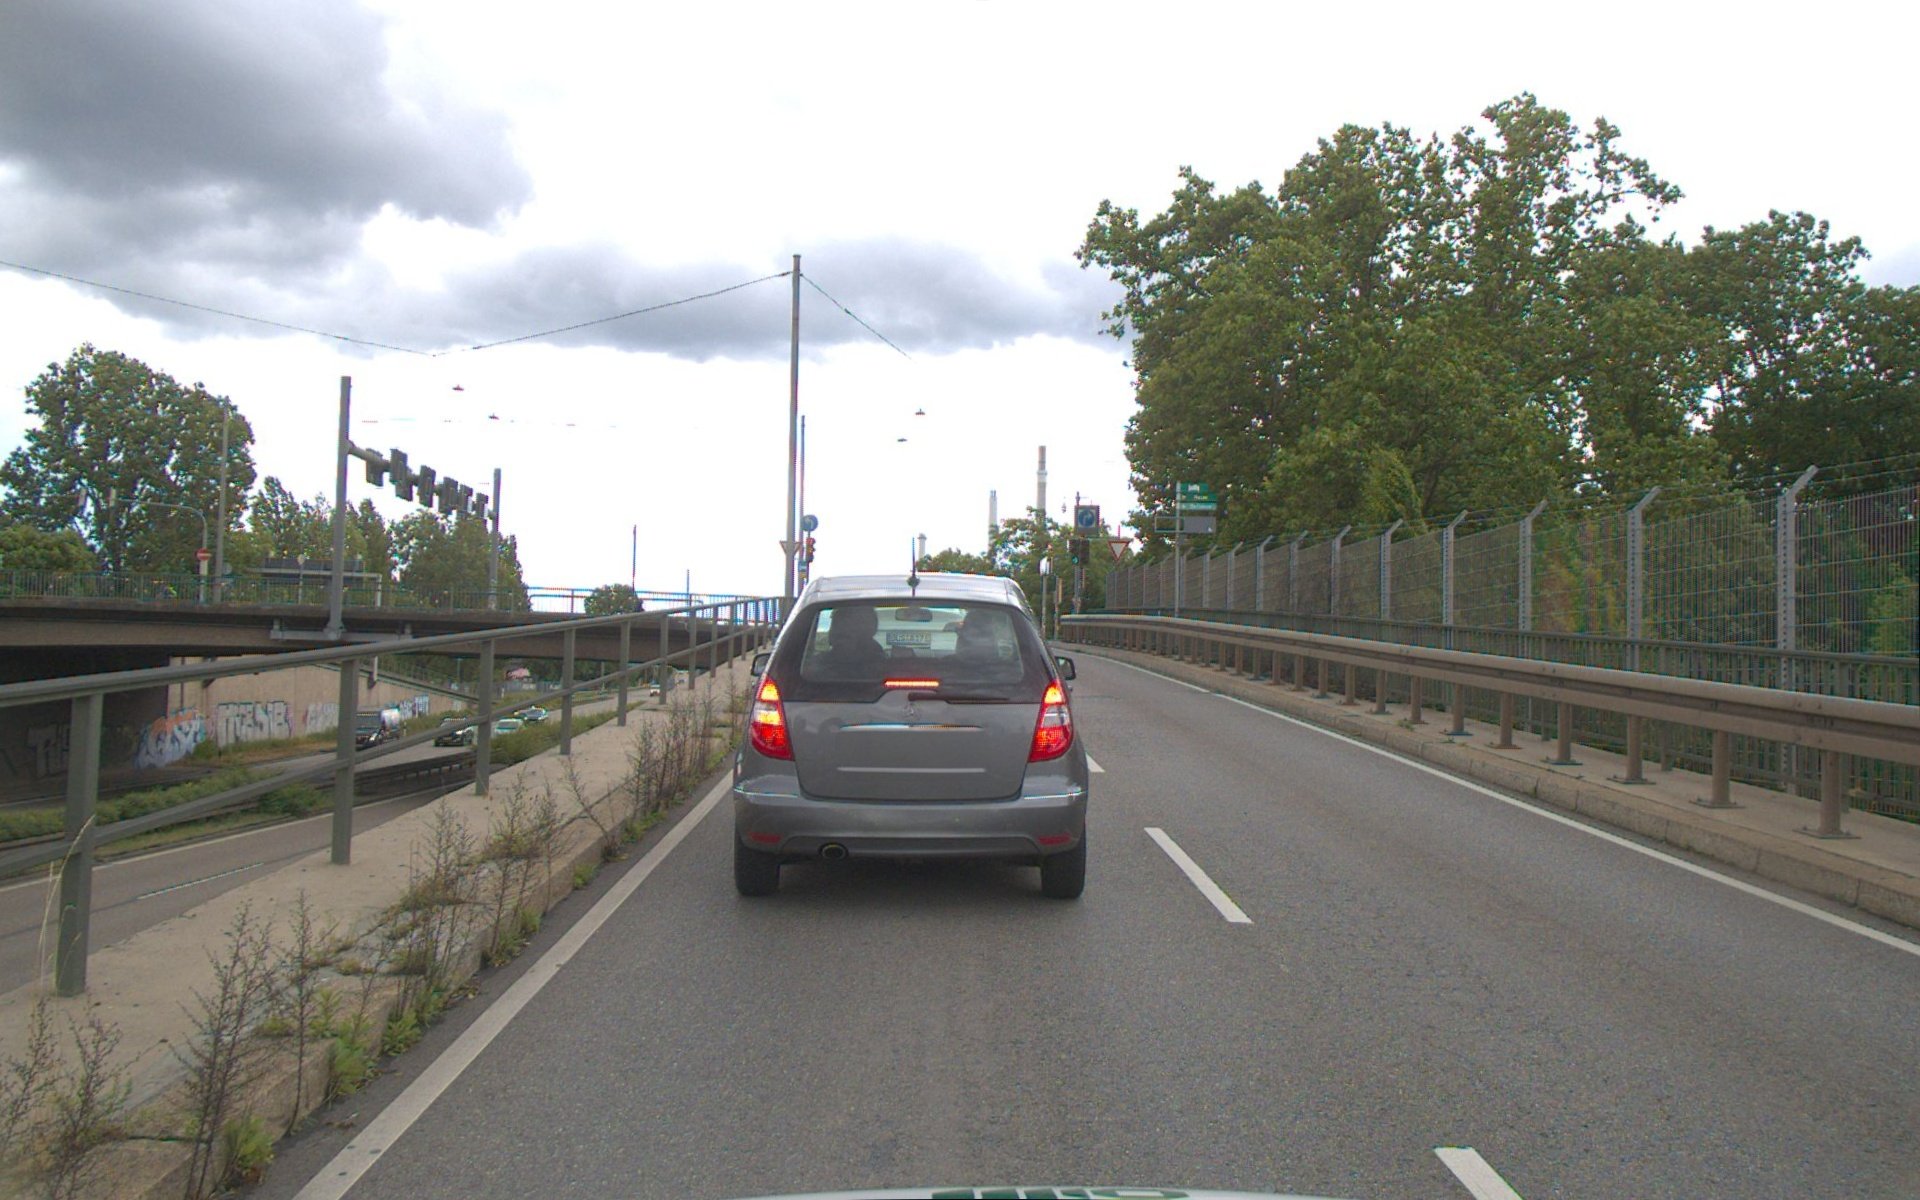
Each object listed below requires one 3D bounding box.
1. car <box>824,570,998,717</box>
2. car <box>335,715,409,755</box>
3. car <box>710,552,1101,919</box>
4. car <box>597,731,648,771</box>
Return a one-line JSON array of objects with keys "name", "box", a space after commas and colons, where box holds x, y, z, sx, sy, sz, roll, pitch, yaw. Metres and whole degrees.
[{"name": "car", "box": [-0.593, 0.459, 20.645, 1.953, 1.631, 3.999, 0, 1, -1]}, {"name": "car", "box": [-34.330, 7.847, 96.760, 2.244, 2.193, 6.180, 0, -4, -1]}, {"name": "car", "box": [-0.078, 0.619, 9.433, 1.713, 1.608, 4.087, 1, -1, 5]}, {"name": "car", "box": [-16.241, 7.241, 79.655, 1.646, 1.766, 3.997, 0, -3, -1]}]
